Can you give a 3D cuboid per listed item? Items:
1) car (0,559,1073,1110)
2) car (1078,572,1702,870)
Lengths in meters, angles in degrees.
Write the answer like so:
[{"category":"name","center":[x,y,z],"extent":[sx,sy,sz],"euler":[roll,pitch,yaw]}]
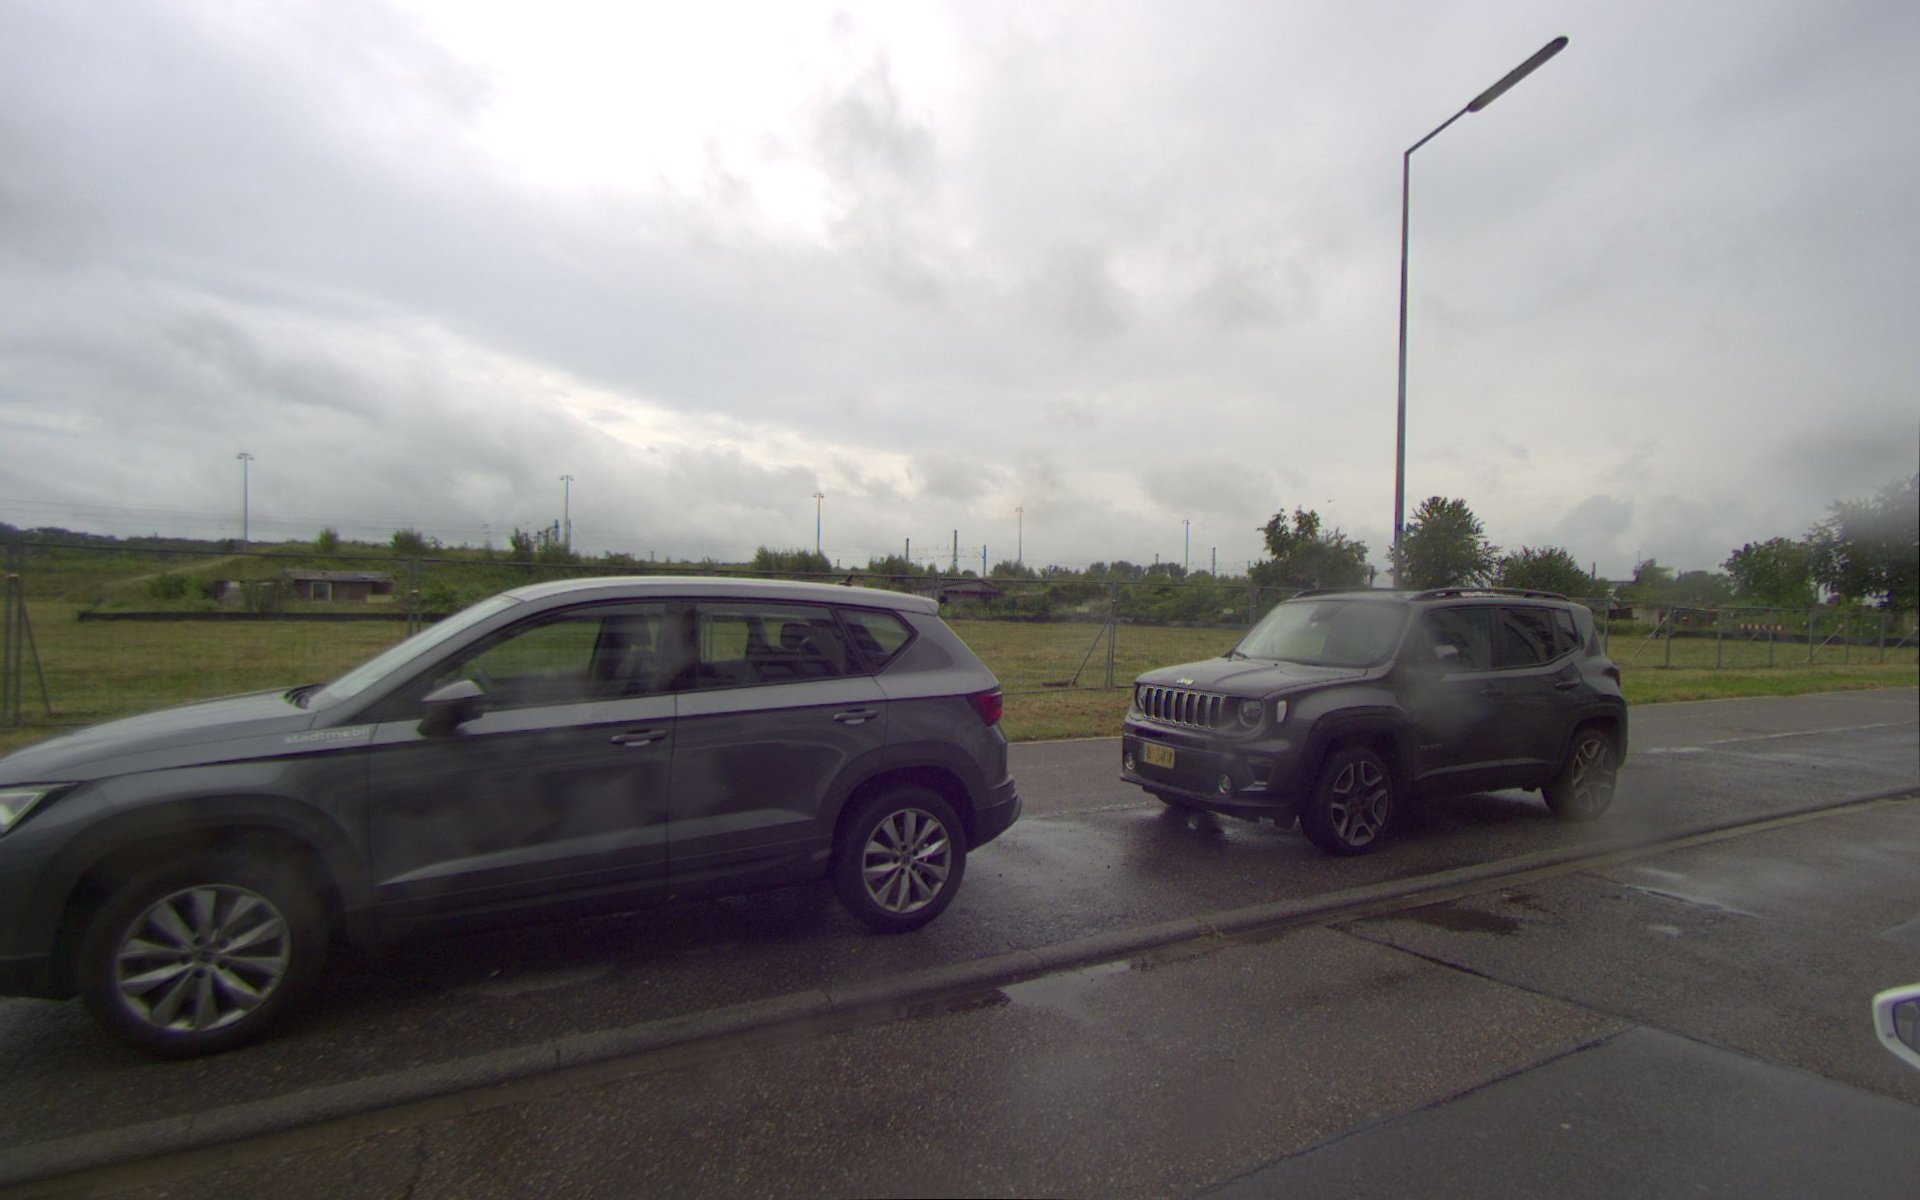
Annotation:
[{"category":"car","center":[-1.645,0.709,4.626],"extent":[4.084,1.611,1.744],"euler":[1,0,-30]},{"category":"car","center":[3.393,0.726,7.683],"extent":[4.818,1.715,1.746],"euler":[1,0,-28]}]
